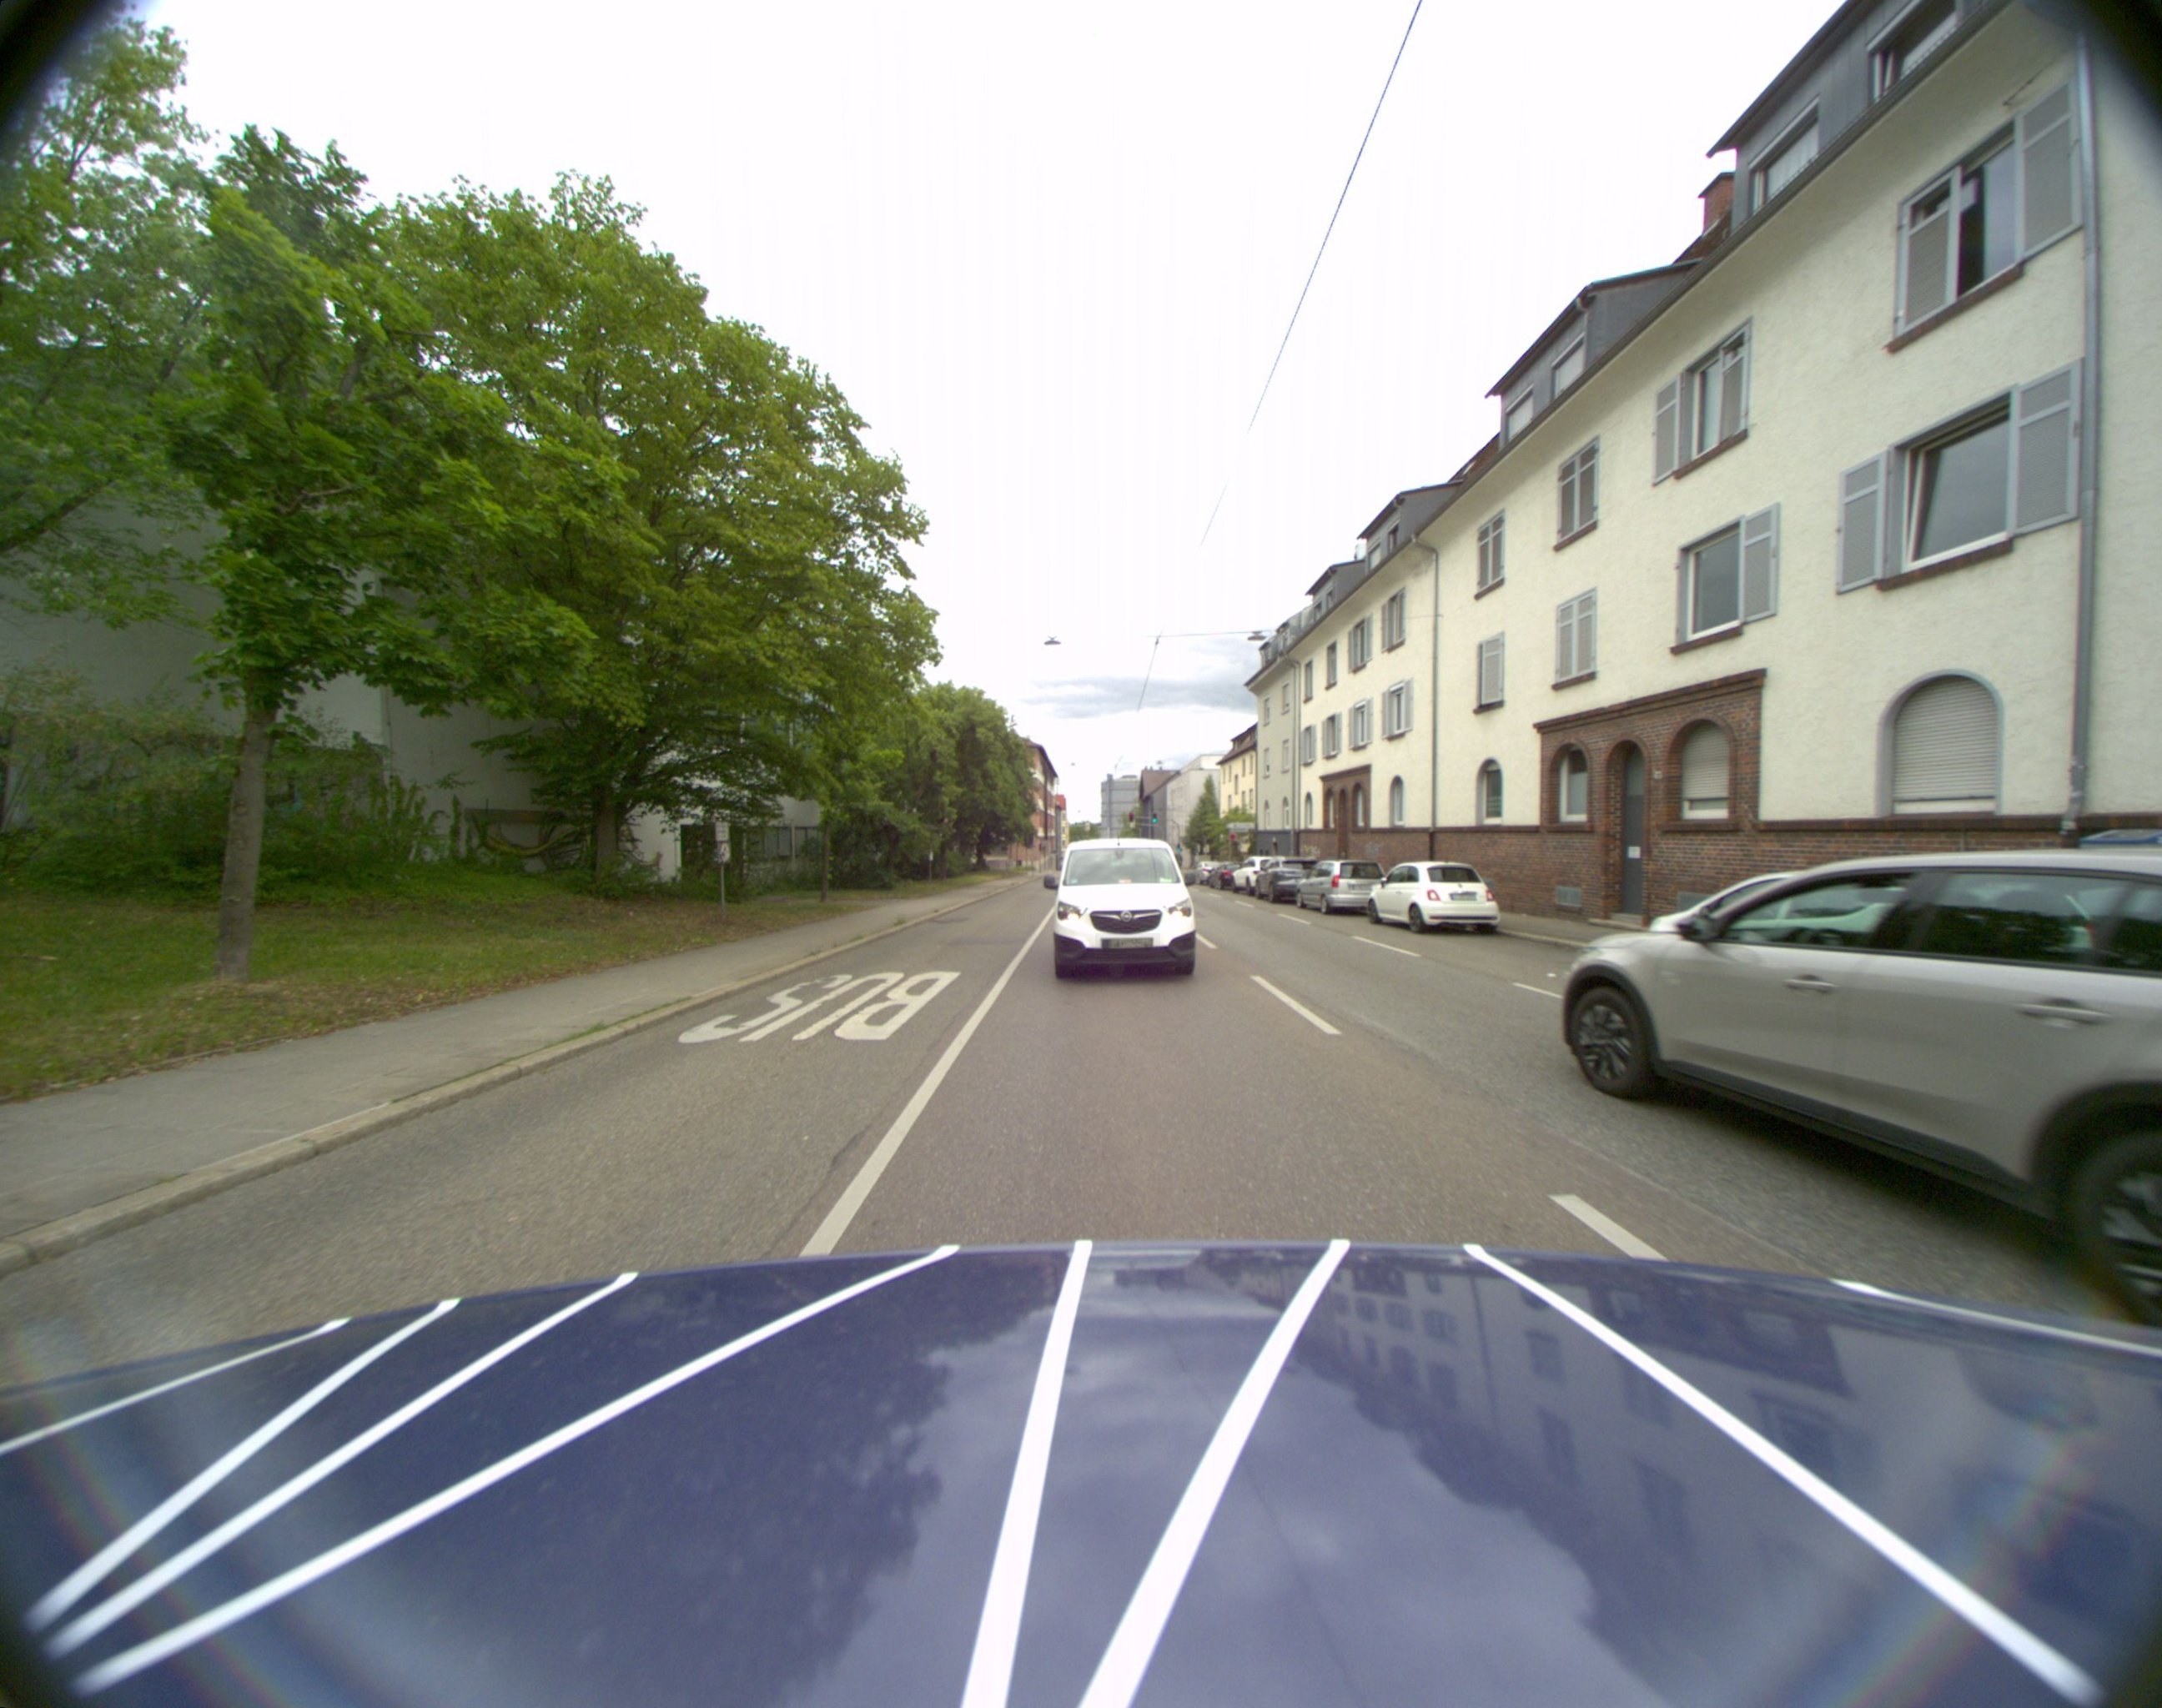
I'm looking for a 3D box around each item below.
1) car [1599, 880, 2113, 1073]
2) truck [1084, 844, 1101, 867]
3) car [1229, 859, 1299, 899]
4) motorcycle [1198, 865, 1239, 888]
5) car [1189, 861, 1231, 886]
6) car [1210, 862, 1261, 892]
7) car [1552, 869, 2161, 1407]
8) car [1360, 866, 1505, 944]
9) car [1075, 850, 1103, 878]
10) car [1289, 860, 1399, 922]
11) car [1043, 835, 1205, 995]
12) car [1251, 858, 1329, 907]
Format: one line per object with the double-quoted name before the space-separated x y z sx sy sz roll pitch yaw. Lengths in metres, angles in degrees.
"car" 7.398 1.033 7.867 1.623 1.417 3.665 0 0 1
"truck" 1.813 0.303 119.854 2.545 3.478 8.522 0 0 1
"car" 7.711 1.008 32.443 1.850 1.611 4.643 0 0 0
"motorcycle" 7.671 1.264 42.368 2.048 1.228 0.806 2 0 -17
"car" 7.710 1.134 45.617 1.731 1.366 4.337 0 0 -1
"car" 7.694 1.103 38.238 1.731 1.420 4.192 0 0 0
"car" 4.079 0.870 3.144 1.802 1.516 4.000 1 0 1
"car" 7.587 1.036 16.771 1.551 1.466 3.604 0 0 0
"car" 0.602 0.681 54.064 1.850 1.832 4.284 -1 0 1
"car" 7.477 0.993 22.015 1.731 1.549 4.081 2 0 0
"car" 0.543 0.765 10.967 1.850 1.831 4.285 -1 -1 1
"car" 7.318 0.954 27.060 1.731 1.589 4.503 0 0 3
